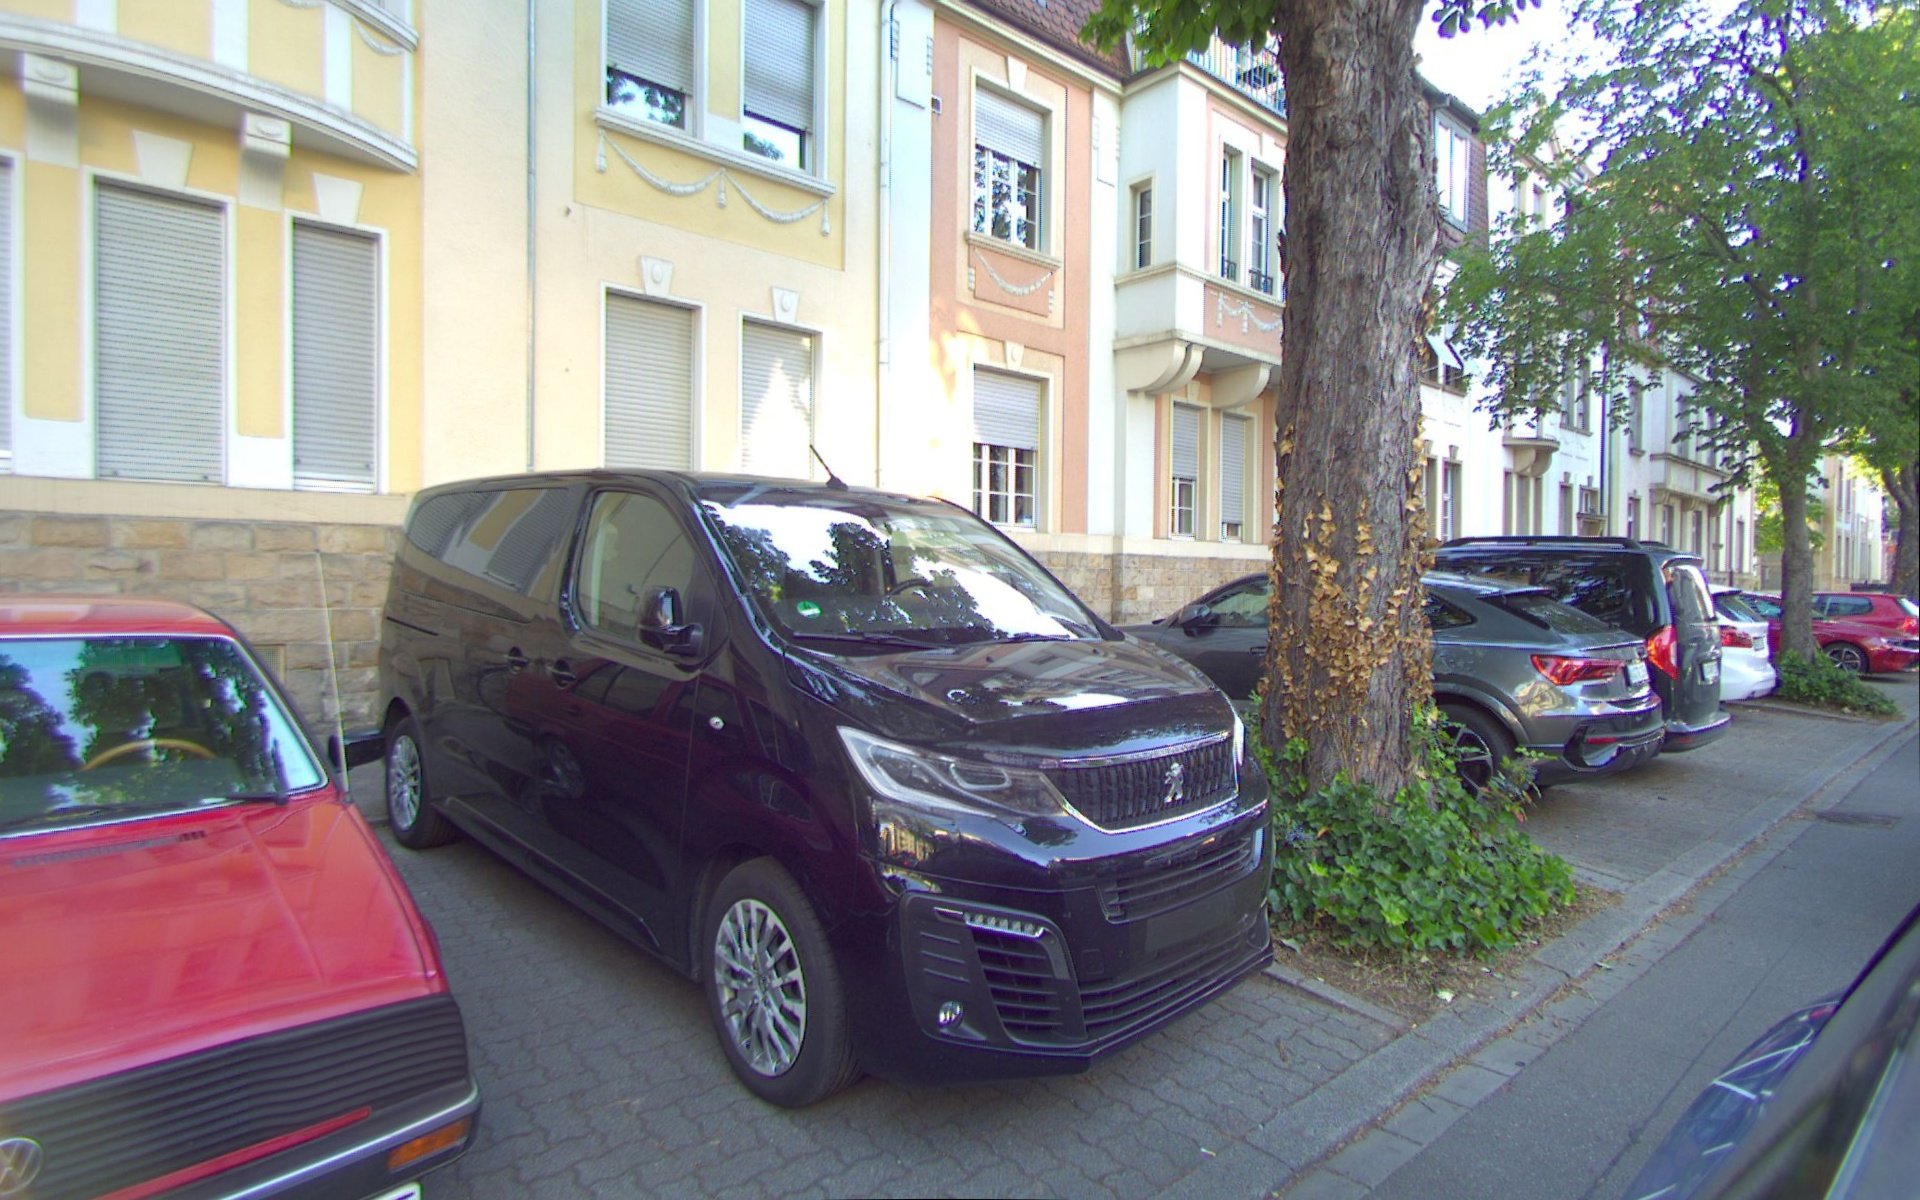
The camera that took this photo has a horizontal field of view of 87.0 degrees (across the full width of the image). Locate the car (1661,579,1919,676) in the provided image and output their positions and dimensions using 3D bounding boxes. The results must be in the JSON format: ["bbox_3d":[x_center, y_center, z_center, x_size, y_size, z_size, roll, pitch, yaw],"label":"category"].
[{"bbox_3d":[14.914,0.411,18.102,1.511,1.420,3.621,0,3,-40],"label":"car"}]

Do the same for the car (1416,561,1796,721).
[{"bbox_3d":[7.721,0.372,12.322,1.513,1.569,3.616,-1,3,-45],"label":"car"}]

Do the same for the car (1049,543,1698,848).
[{"bbox_3d":[2.771,0.422,7.530,1.569,1.611,4.165,-1,4,-44],"label":"car"}]

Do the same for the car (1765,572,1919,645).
[{"bbox_3d":[21.622,0.183,24.089,1.511,1.584,3.621,0,2,-40],"label":"car"}]

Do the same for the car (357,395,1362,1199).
[{"bbox_3d":[-0.992,0.347,4.529,1.851,1.846,4.825,-1,4,-44],"label":"car"}]

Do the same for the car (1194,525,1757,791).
[{"bbox_3d":[4.336,0.279,9.043,1.569,1.849,4.165,-1,4,-44],"label":"car"}]

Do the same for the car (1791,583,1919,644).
[{"bbox_3d":[23.974,0.336,26.155,1.511,1.420,3.621,0,2,-40],"label":"car"}]

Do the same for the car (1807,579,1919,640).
[{"bbox_3d":[25.944,0.255,27.995,1.511,1.584,3.621,0,2,-40],"label":"car"}]

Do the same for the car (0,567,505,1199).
[{"bbox_3d":[-2.798,0.631,2.959,1.532,1.336,3.917,-1,4,-43],"label":"car"}]

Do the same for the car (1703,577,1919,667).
[{"bbox_3d":[16.862,0.372,19.668,1.511,1.482,3.621,0,3,-40],"label":"car"}]
